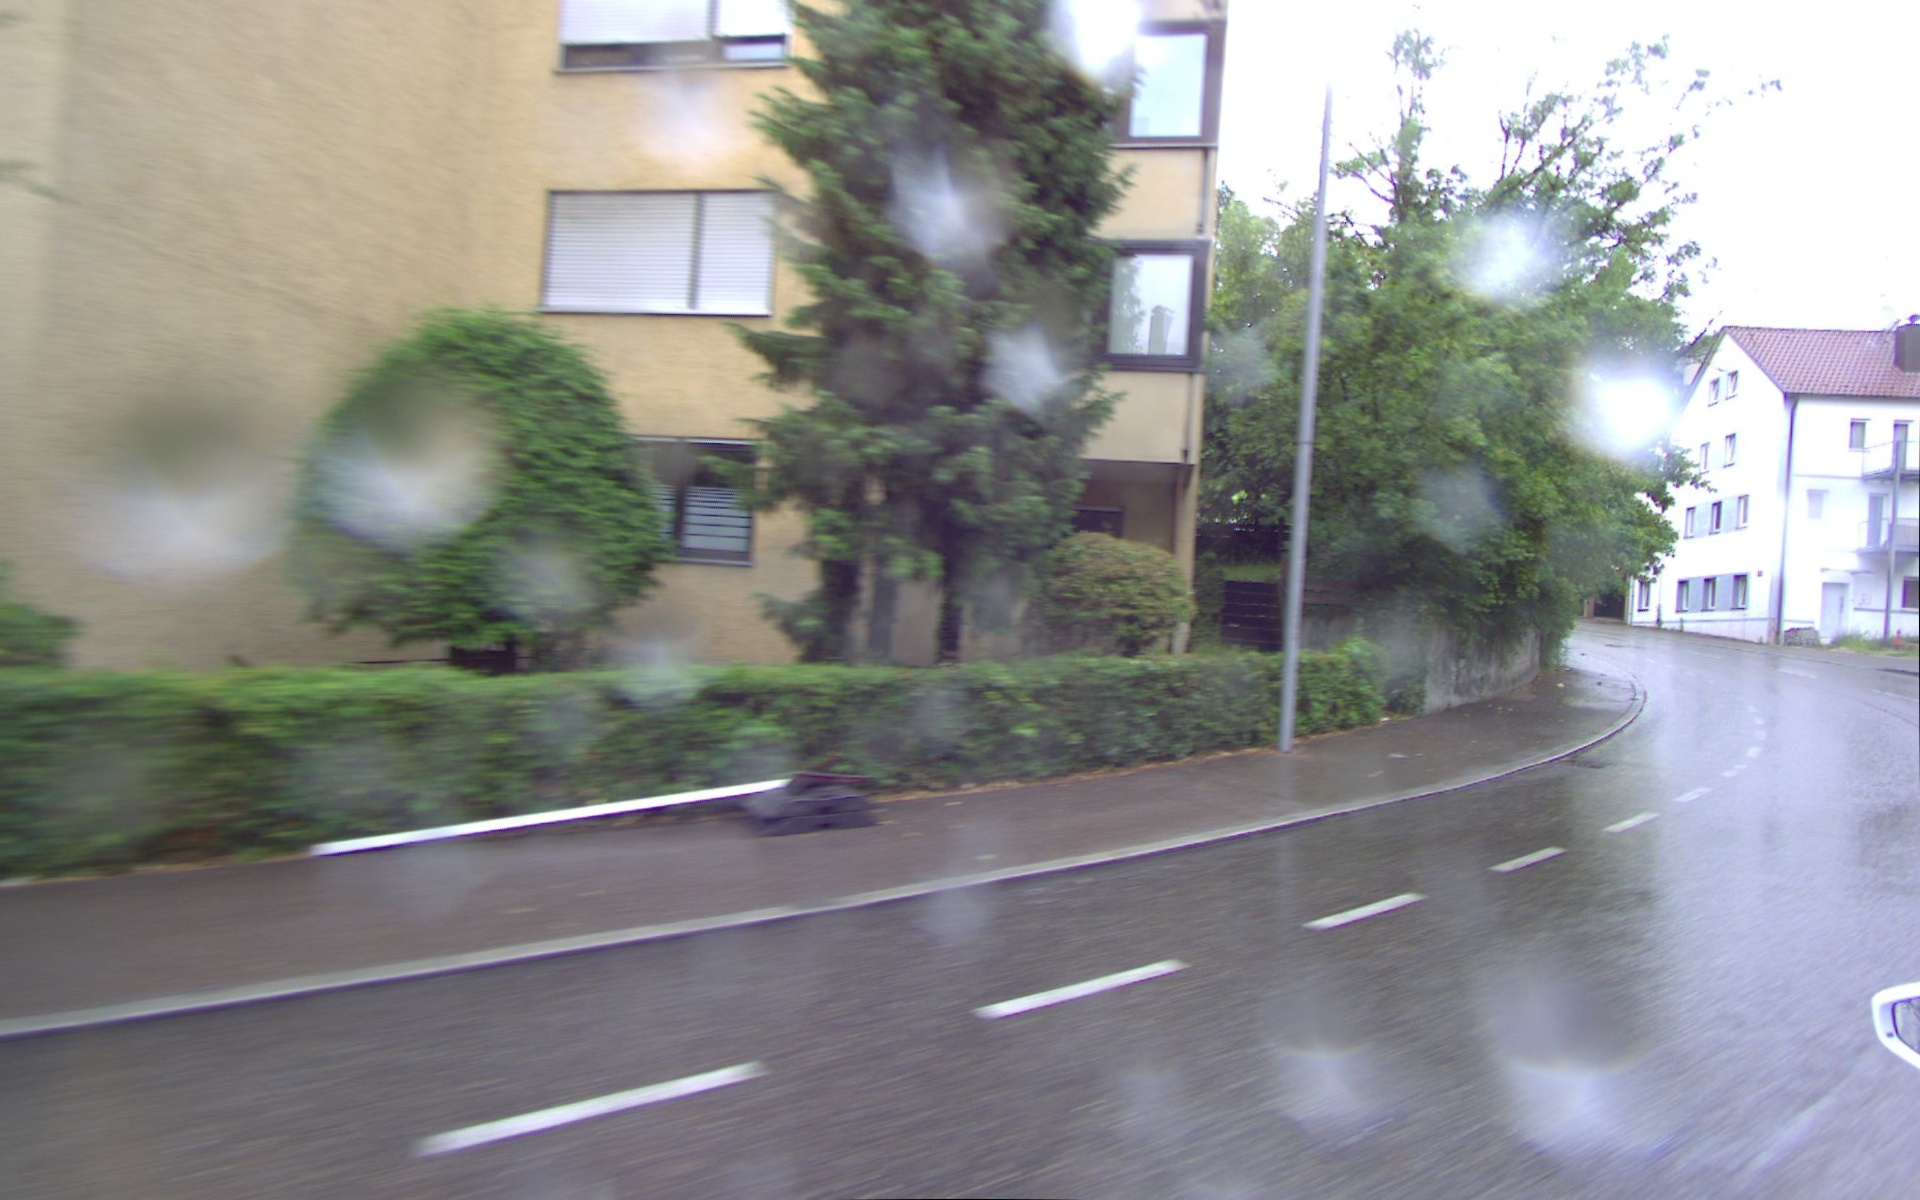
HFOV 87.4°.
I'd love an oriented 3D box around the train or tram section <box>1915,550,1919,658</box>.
[{"bbox_3d":[31.711,0.145,28.261,6.730,3.246,2.367,1,-1,13],"label":"train or tram section"}]
